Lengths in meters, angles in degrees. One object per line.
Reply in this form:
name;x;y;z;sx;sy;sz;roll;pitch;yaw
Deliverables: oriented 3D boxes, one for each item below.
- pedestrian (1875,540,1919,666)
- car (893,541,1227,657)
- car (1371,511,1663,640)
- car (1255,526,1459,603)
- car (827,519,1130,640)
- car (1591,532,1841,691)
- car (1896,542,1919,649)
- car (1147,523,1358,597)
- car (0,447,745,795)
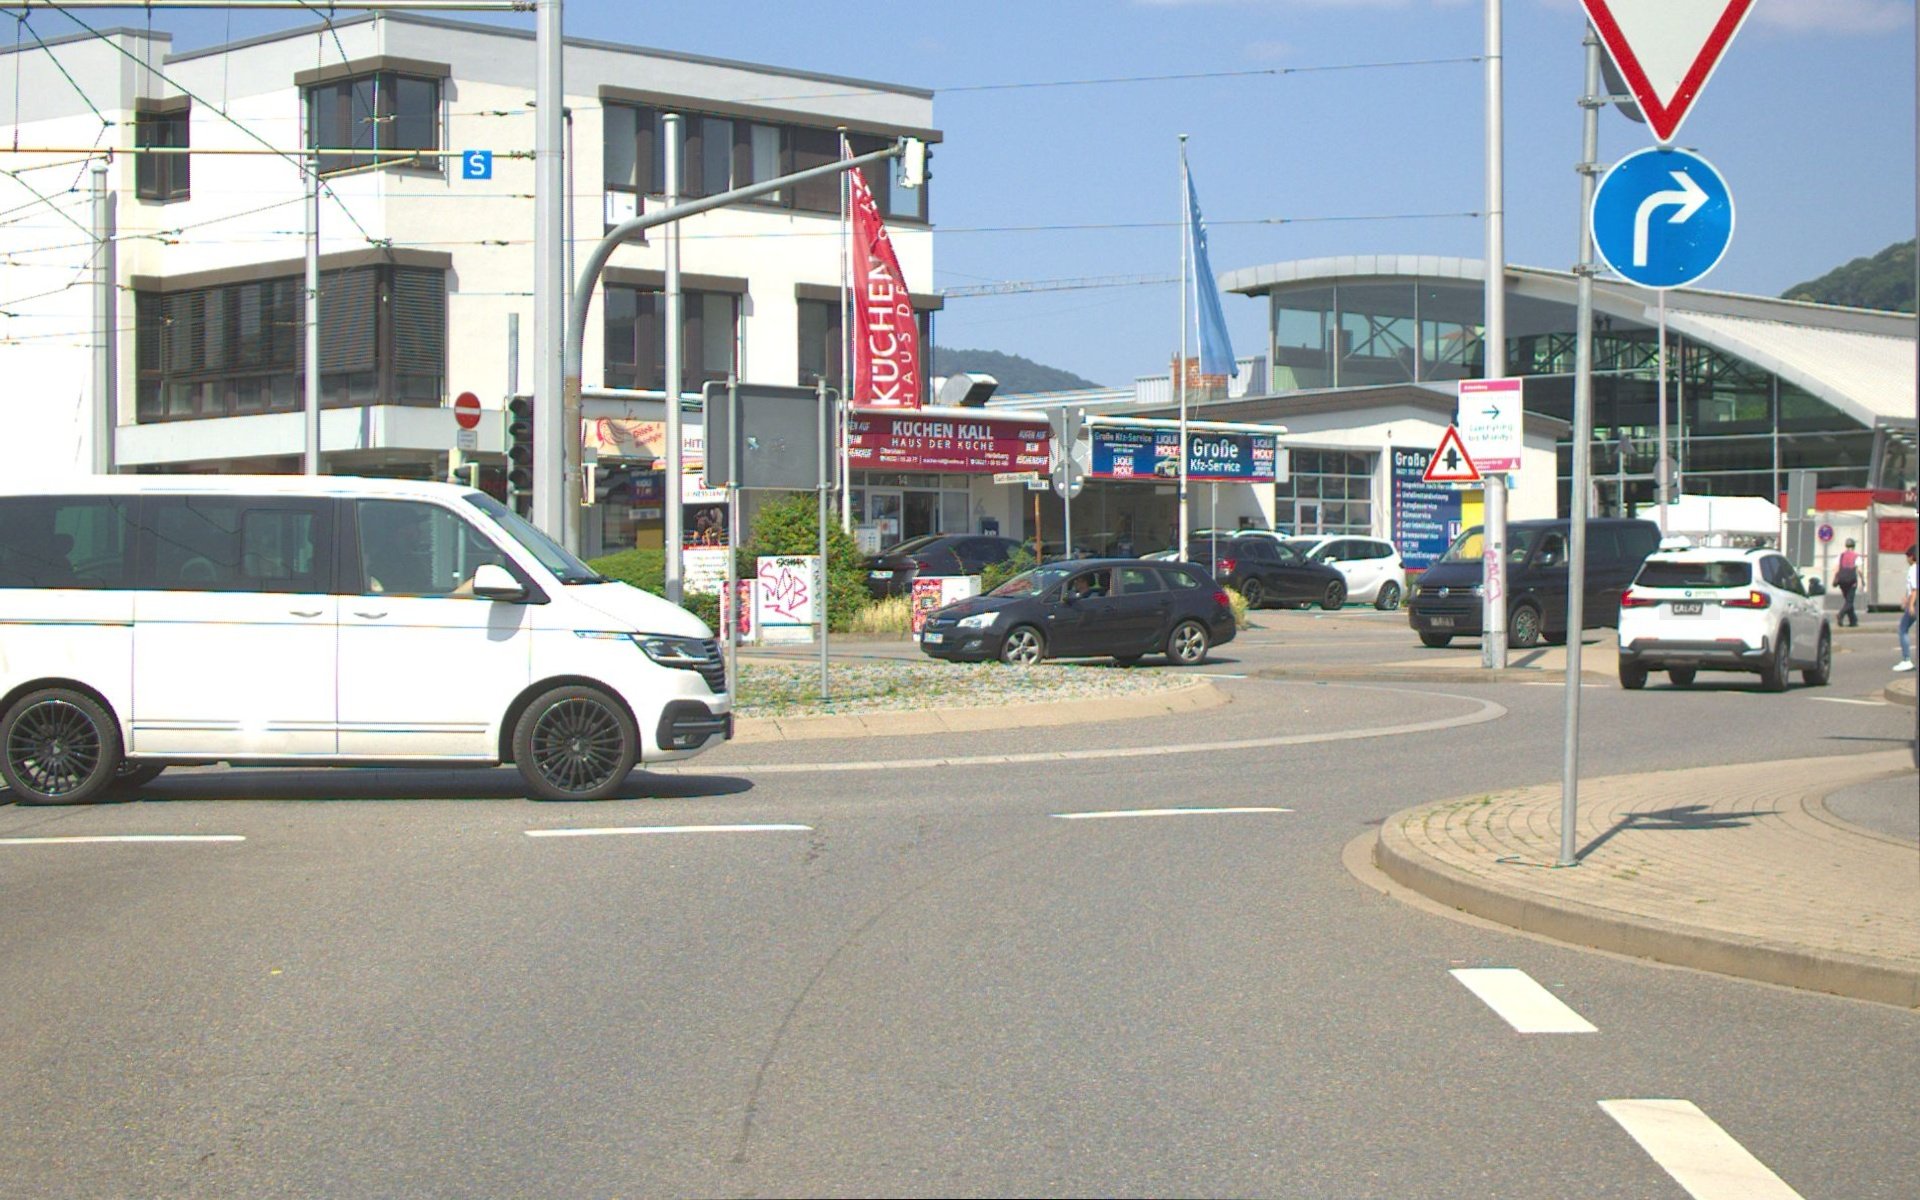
pedestrian;12.454;0.032;44.957;0.880;1.631;0.952;0;0;12
car;1.402;-0.038;47.888;4.228;1.550;1.970;0;1;-29
car;8.662;-0.430;53.257;4.626;1.903;2.097;-1;2;-44
car;8.689;-0.765;74.940;1.885;1.583;4.916;-2;-1;42
car;0.363;-0.370;58.309;5.266;1.959;1.965;-1;1;-44
car;8.810;0.093;39.784;1.996;1.727;4.558;0;1;23
car;19.421;-0.086;63.020;4.815;1.929;1.933;0;1;-40
car;5.890;-0.799;68.834;2.031;1.422;4.306;1;1;42
car;-3.887;0.105;21.019;5.001;2.007;2.169;0;1;0
